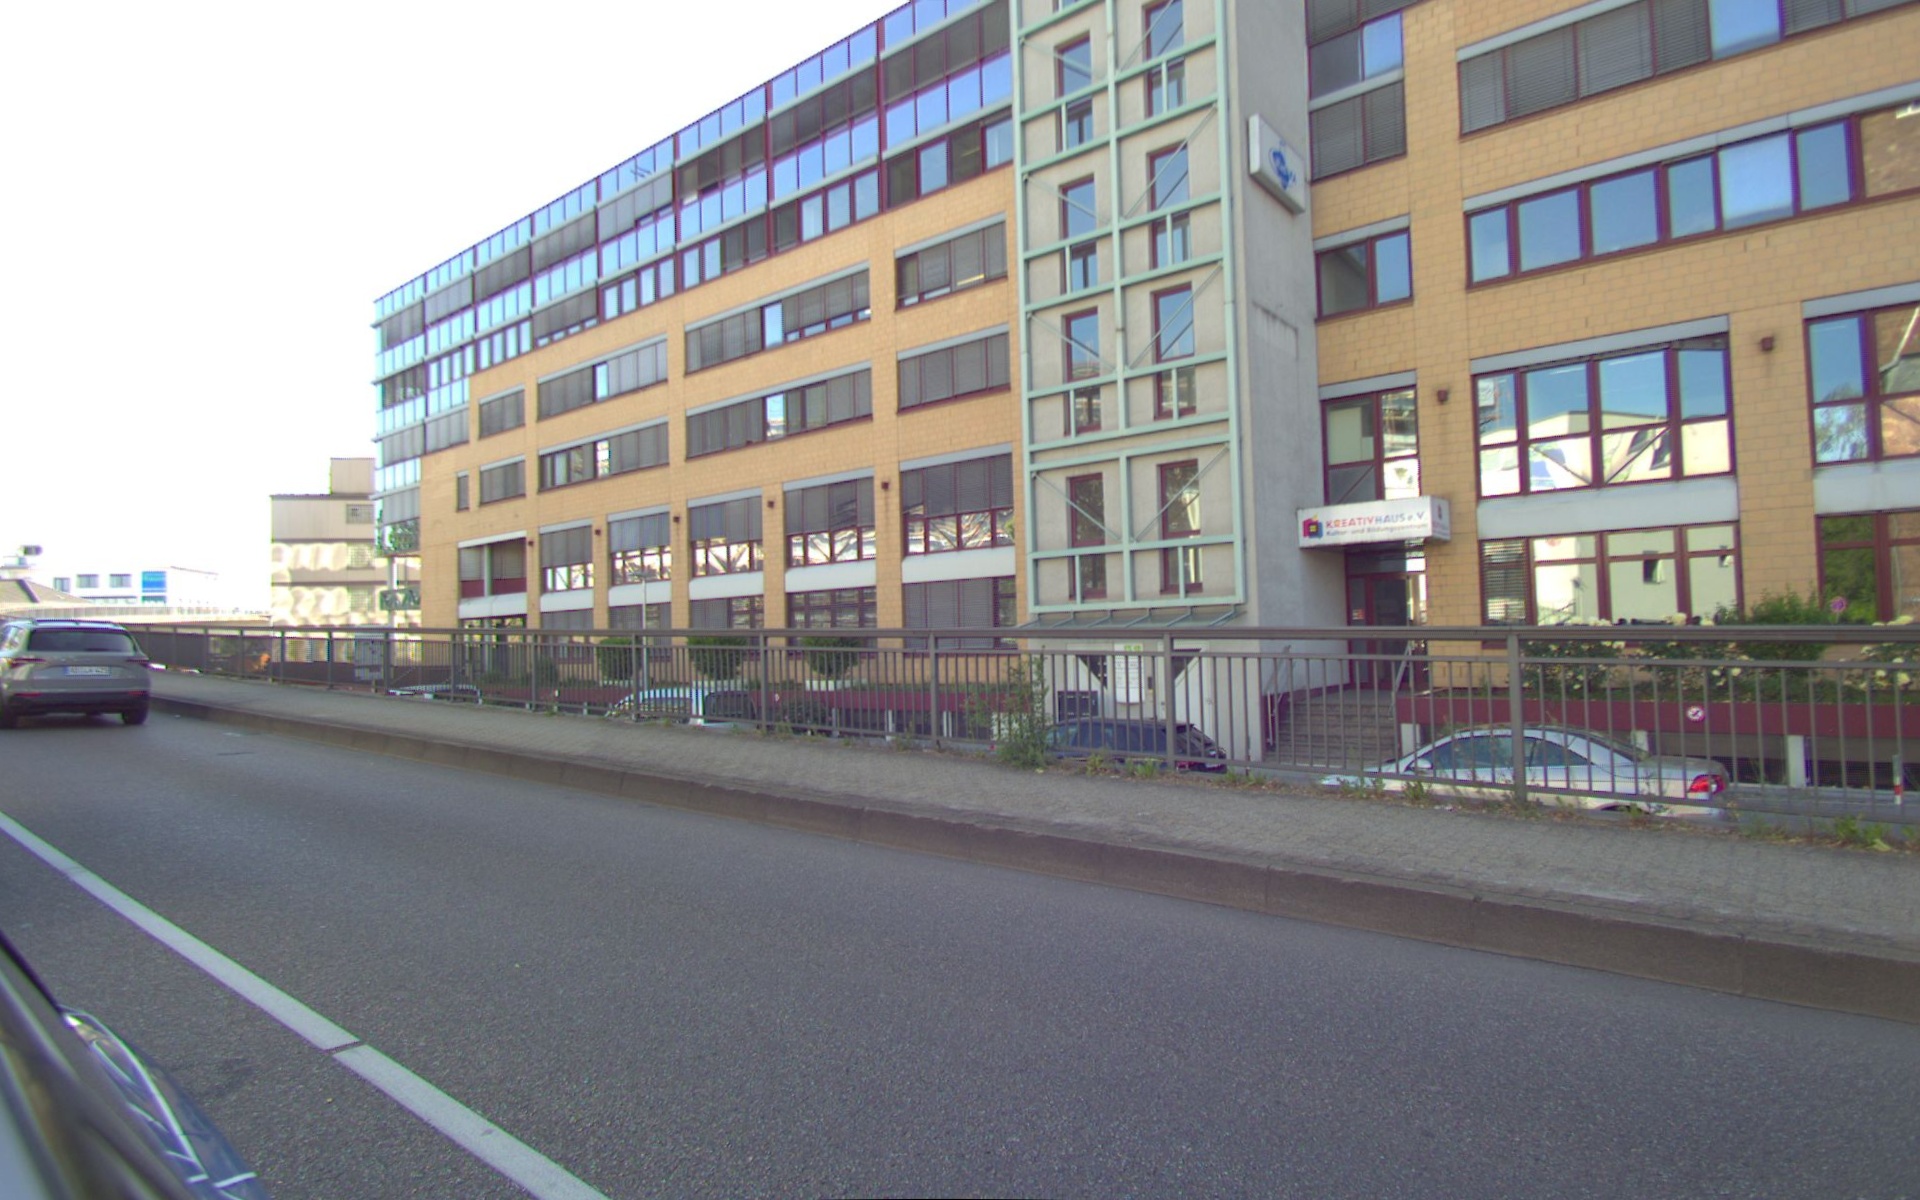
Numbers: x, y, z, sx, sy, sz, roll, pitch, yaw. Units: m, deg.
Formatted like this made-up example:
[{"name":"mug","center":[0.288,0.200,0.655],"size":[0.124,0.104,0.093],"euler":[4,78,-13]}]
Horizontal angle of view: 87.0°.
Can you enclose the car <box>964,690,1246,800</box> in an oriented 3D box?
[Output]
[{"name":"car","center":[2.026,2.009,14.739],"size":[3.805,1.279,1.560],"euler":[-3,-4,39]}]

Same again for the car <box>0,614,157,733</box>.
[{"name":"car","center":[-14.241,1.089,15.812],"size":[3.995,1.636,1.786],"euler":[-1,-4,39]}]

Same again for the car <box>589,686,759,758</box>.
[{"name":"car","center":[-6.053,2.501,21.259],"size":[3.805,1.279,1.560],"euler":[-3,-4,39]}]

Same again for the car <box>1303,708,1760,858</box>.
[{"name":"car","center":[6.298,1.914,11.433],"size":[4.253,1.175,1.704],"euler":[-3,-4,39]}]

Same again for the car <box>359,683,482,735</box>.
[{"name":"car","center":[-15.332,3.039,28.687],"size":[3.805,1.279,1.744],"euler":[-3,-4,39]}]
